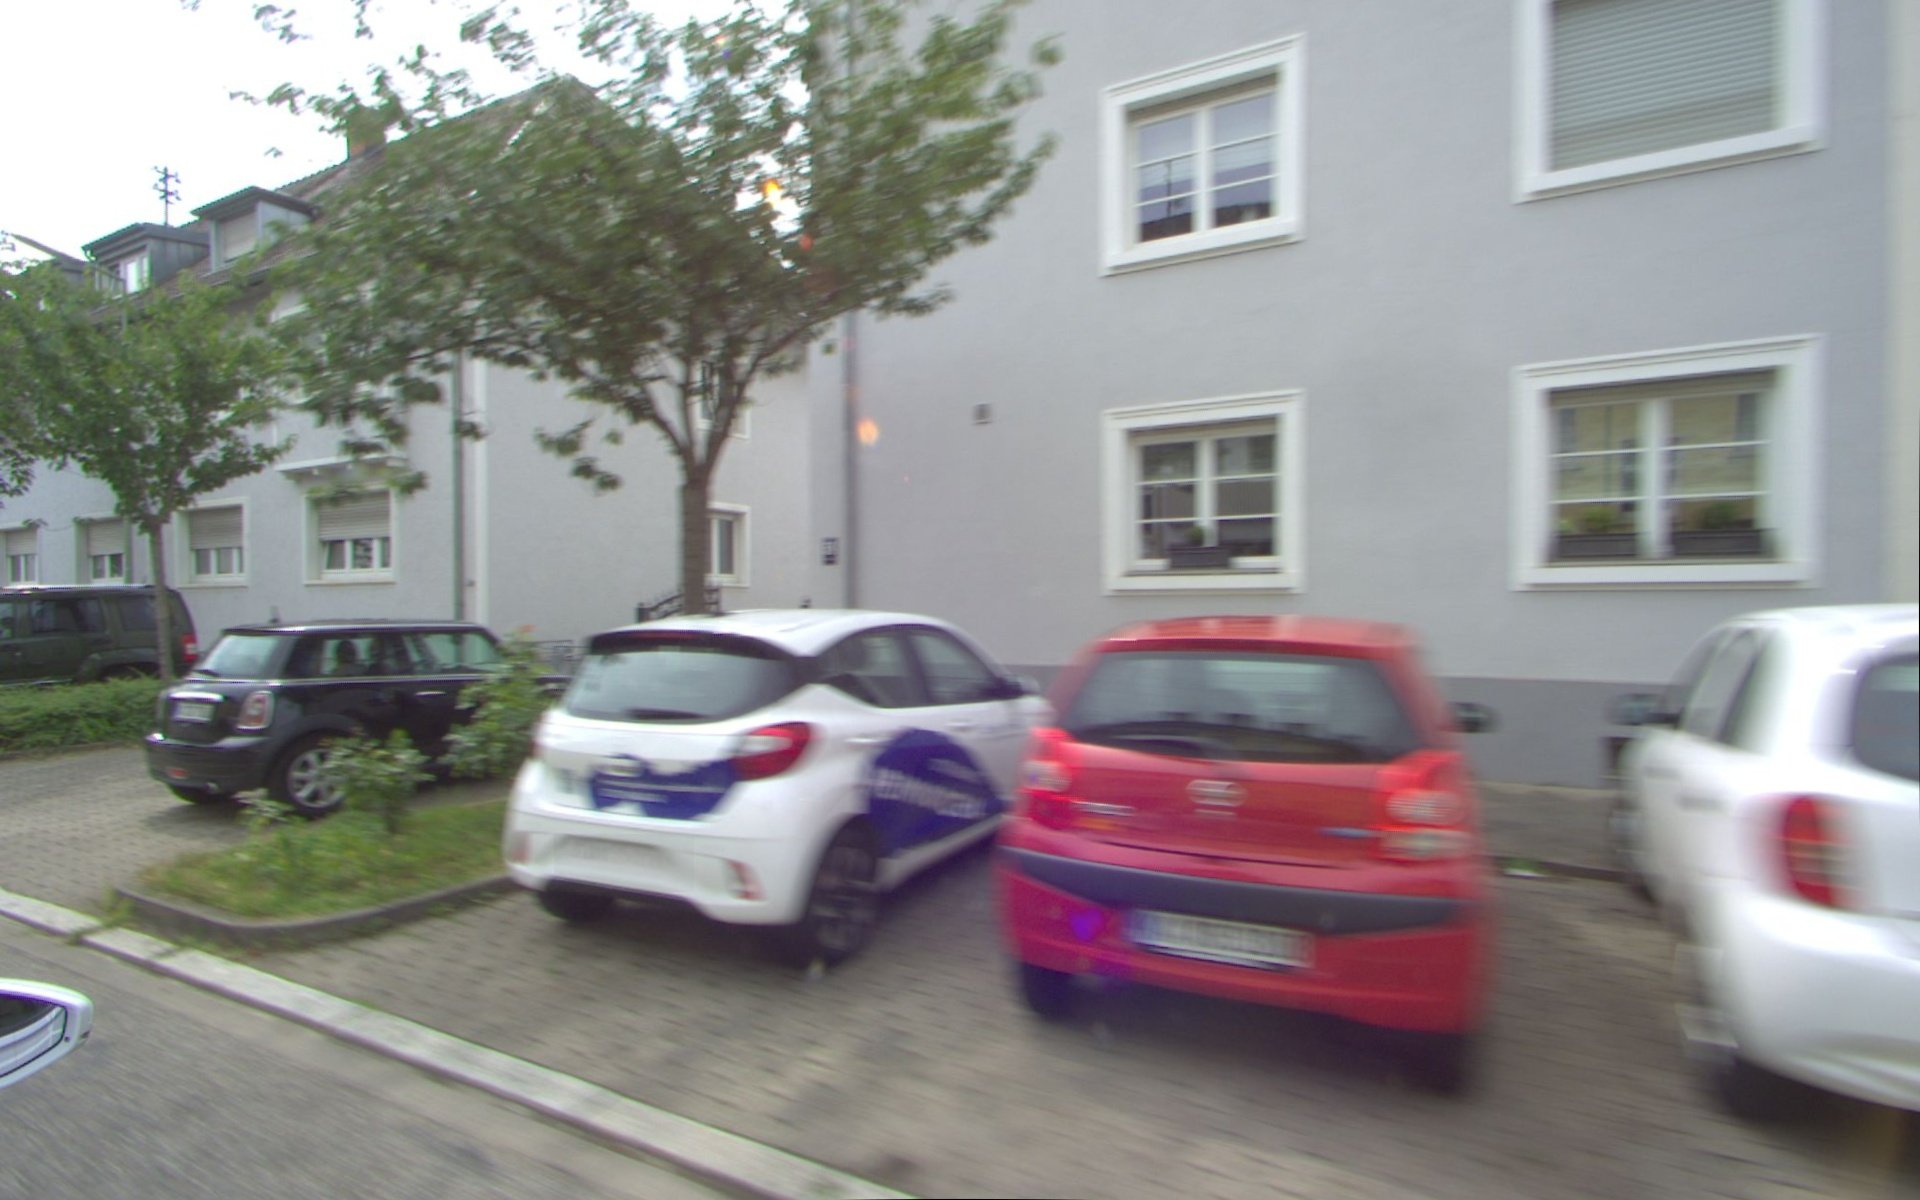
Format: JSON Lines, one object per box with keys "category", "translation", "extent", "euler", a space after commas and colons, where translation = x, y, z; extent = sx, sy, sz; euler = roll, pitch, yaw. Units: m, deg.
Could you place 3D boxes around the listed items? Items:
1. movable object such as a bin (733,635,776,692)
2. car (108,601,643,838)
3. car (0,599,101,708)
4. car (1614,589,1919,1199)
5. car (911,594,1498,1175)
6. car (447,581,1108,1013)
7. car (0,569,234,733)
{"category": "movable object such as a bin", "translation": [-3.446, 1.055, 16.812], "extent": [0.472, 0.912, 0.512], "euler": [0, 1, 30]}
{"category": "car", "translation": [-4.729, 0.799, 8.622], "extent": [1.781, 1.473, 3.537], "euler": [0, 2, 29]}
{"category": "car", "translation": [-14.281, 0.776, 13.529], "extent": [1.744, 1.474, 3.622], "euler": [0, 2, 26]}
{"category": "car", "translation": [3.616, 0.731, 3.678], "extent": [1.837, 1.461, 3.740], "euler": [0, 2, 30]}
{"category": "car", "translation": [1.510, 0.742, 4.781], "extent": [1.740, 1.429, 3.983], "euler": [0, 2, 27]}
{"category": "car", "translation": [-0.598, 0.699, 5.849], "extent": [1.740, 1.551, 3.983], "euler": [0, 2, 27]}
{"category": "car", "translation": [-11.801, 0.592, 12.106], "extent": [1.767, 1.883, 4.514], "euler": [0, 2, 32]}
